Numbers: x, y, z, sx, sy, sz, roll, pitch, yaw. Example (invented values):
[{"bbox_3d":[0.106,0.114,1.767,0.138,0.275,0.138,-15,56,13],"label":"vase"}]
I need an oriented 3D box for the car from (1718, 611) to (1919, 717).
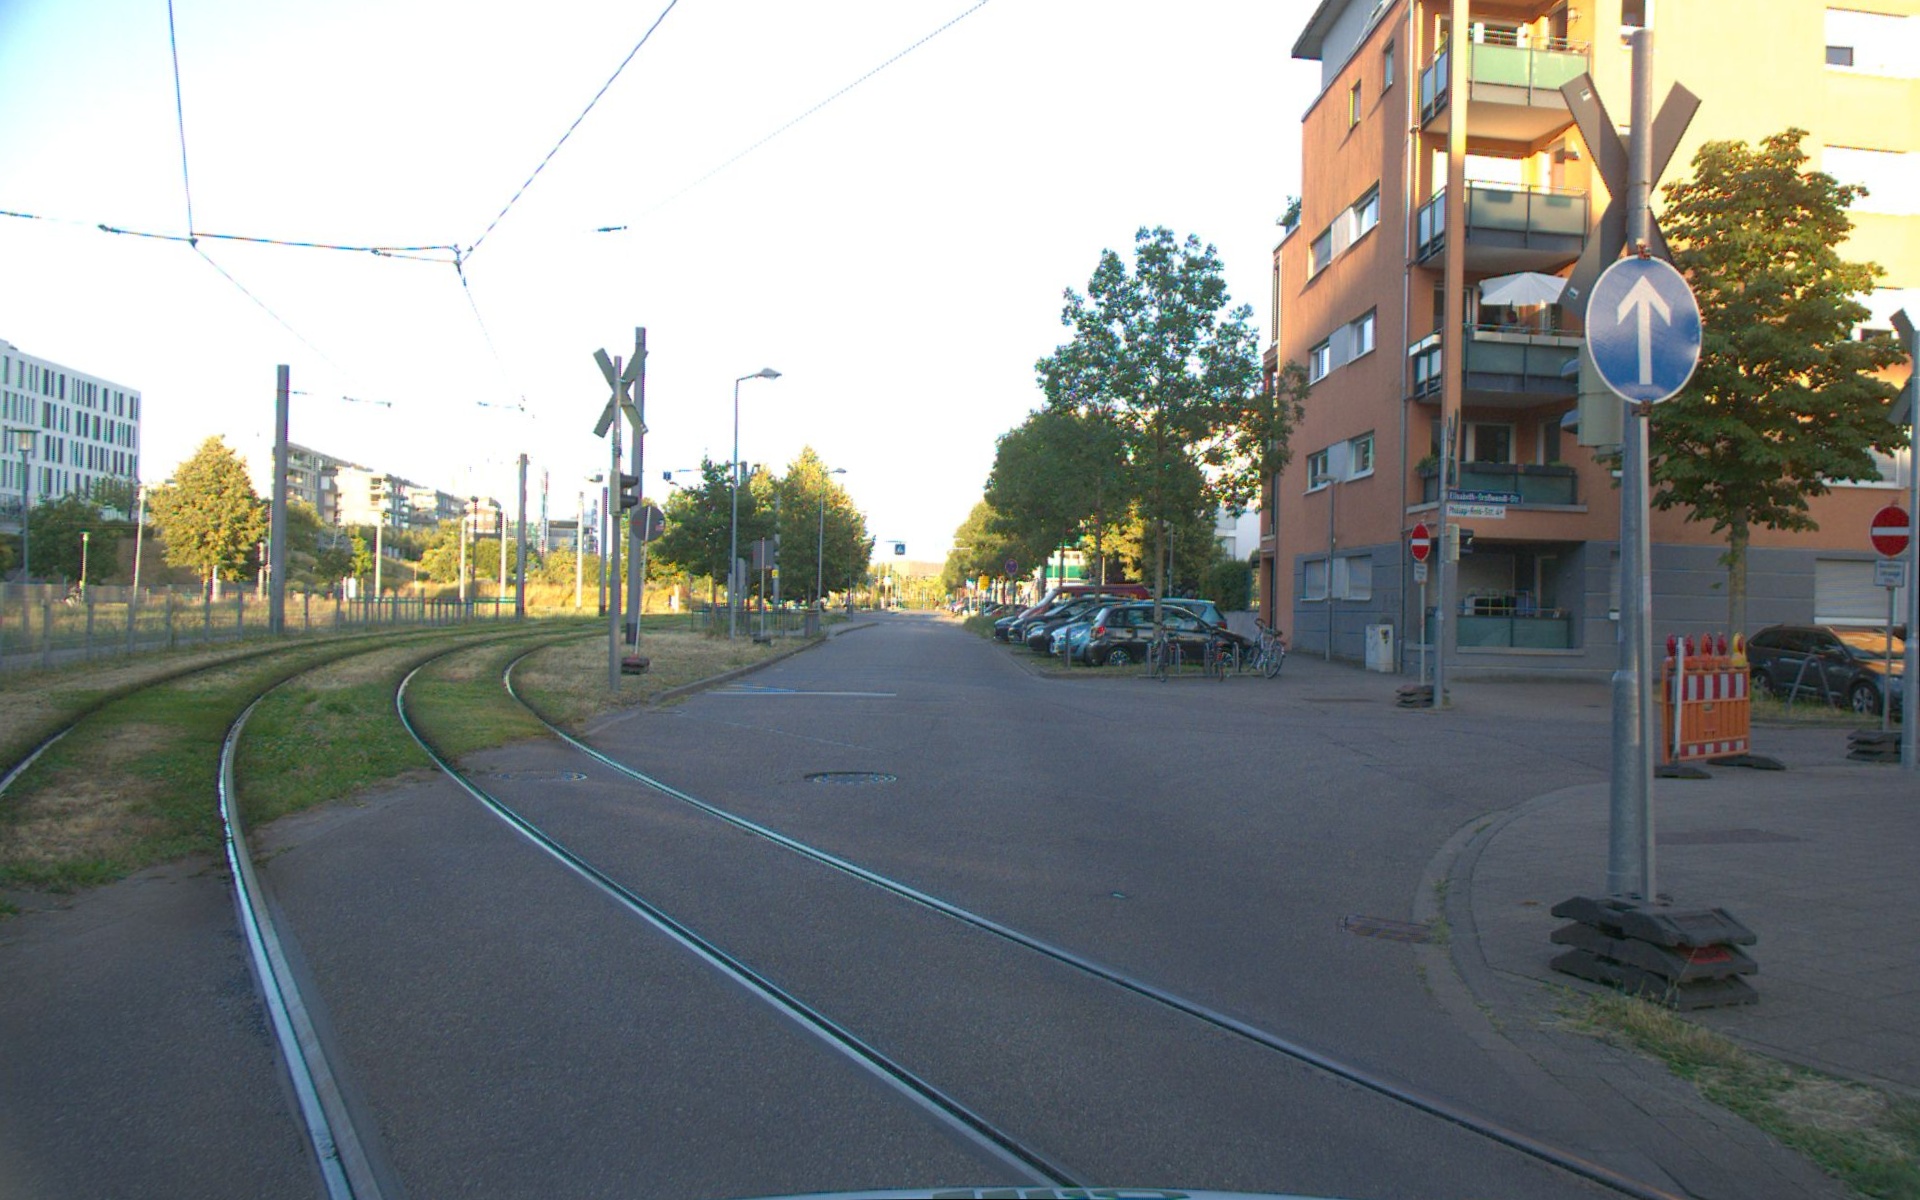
[{"bbox_3d":[15.570,1.061,28.763,1.957,1.622,4.803,2,0,-10],"label":"car"}]

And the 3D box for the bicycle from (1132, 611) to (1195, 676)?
[{"bbox_3d":[4.059,0.861,33.139,0.704,1.172,1.893,-1,2,-12],"label":"bicycle"}]

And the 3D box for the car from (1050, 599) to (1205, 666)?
[{"bbox_3d":[4.292,0.824,42.692,3.798,1.596,1.620,1,0,-1],"label":"car"}]

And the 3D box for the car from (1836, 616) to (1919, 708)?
[{"bbox_3d":[18.199,1.152,29.560,1.957,1.622,4.803,1,0,-10],"label":"car"}]

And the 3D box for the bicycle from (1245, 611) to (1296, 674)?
[{"bbox_3d":[6.288,0.836,33.549,0.518,1.146,1.962,3,2,-3],"label":"bicycle"}]

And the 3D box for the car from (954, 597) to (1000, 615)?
[{"bbox_3d":[1.642,0.551,159.207,4.393,1.624,2.000,1,0,0],"label":"car"}]

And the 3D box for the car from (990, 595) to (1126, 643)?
[{"bbox_3d":[3.395,0.656,57.817,4.575,1.584,1.810,1,0,-2],"label":"car"}]

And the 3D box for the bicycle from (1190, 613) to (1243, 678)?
[{"bbox_3d":[5.120,0.886,33.074,0.665,1.172,1.927,-1,2,-3],"label":"bicycle"}]

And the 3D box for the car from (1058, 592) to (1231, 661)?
[{"bbox_3d":[4.416,0.624,39.910,3.968,1.596,1.672,0,0,-1],"label":"car"}]

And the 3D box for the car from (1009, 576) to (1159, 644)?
[{"bbox_3d":[4.085,0.331,55.176,4.819,2.154,2.017,1,0,0],"label":"car"}]

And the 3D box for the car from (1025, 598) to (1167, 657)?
[{"bbox_3d":[3.698,0.762,45.275,3.697,1.522,1.538,1,-2,-2],"label":"car"}]

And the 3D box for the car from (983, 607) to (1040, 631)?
[{"bbox_3d":[3.449,1.248,111.466,3.727,1.535,1.678,1,0,-3],"label":"car"}]

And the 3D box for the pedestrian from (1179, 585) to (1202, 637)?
[{"bbox_3d":[7.973,0.385,57.165,0.655,1.773,0.699,1,0,-2],"label":"pedestrian"}]

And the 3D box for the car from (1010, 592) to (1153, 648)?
[{"bbox_3d":[3.625,0.592,49.816,4.130,1.596,1.792,-1,0,-1],"label":"car"}]

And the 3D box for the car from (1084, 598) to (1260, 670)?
[{"bbox_3d":[4.785,0.756,37.565,3.677,1.499,1.611,1,0,-6],"label":"car"}]

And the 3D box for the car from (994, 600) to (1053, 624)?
[{"bbox_3d":[4.136,0.793,108.743,3.727,1.535,1.678,1,0,-3],"label":"car"}]
